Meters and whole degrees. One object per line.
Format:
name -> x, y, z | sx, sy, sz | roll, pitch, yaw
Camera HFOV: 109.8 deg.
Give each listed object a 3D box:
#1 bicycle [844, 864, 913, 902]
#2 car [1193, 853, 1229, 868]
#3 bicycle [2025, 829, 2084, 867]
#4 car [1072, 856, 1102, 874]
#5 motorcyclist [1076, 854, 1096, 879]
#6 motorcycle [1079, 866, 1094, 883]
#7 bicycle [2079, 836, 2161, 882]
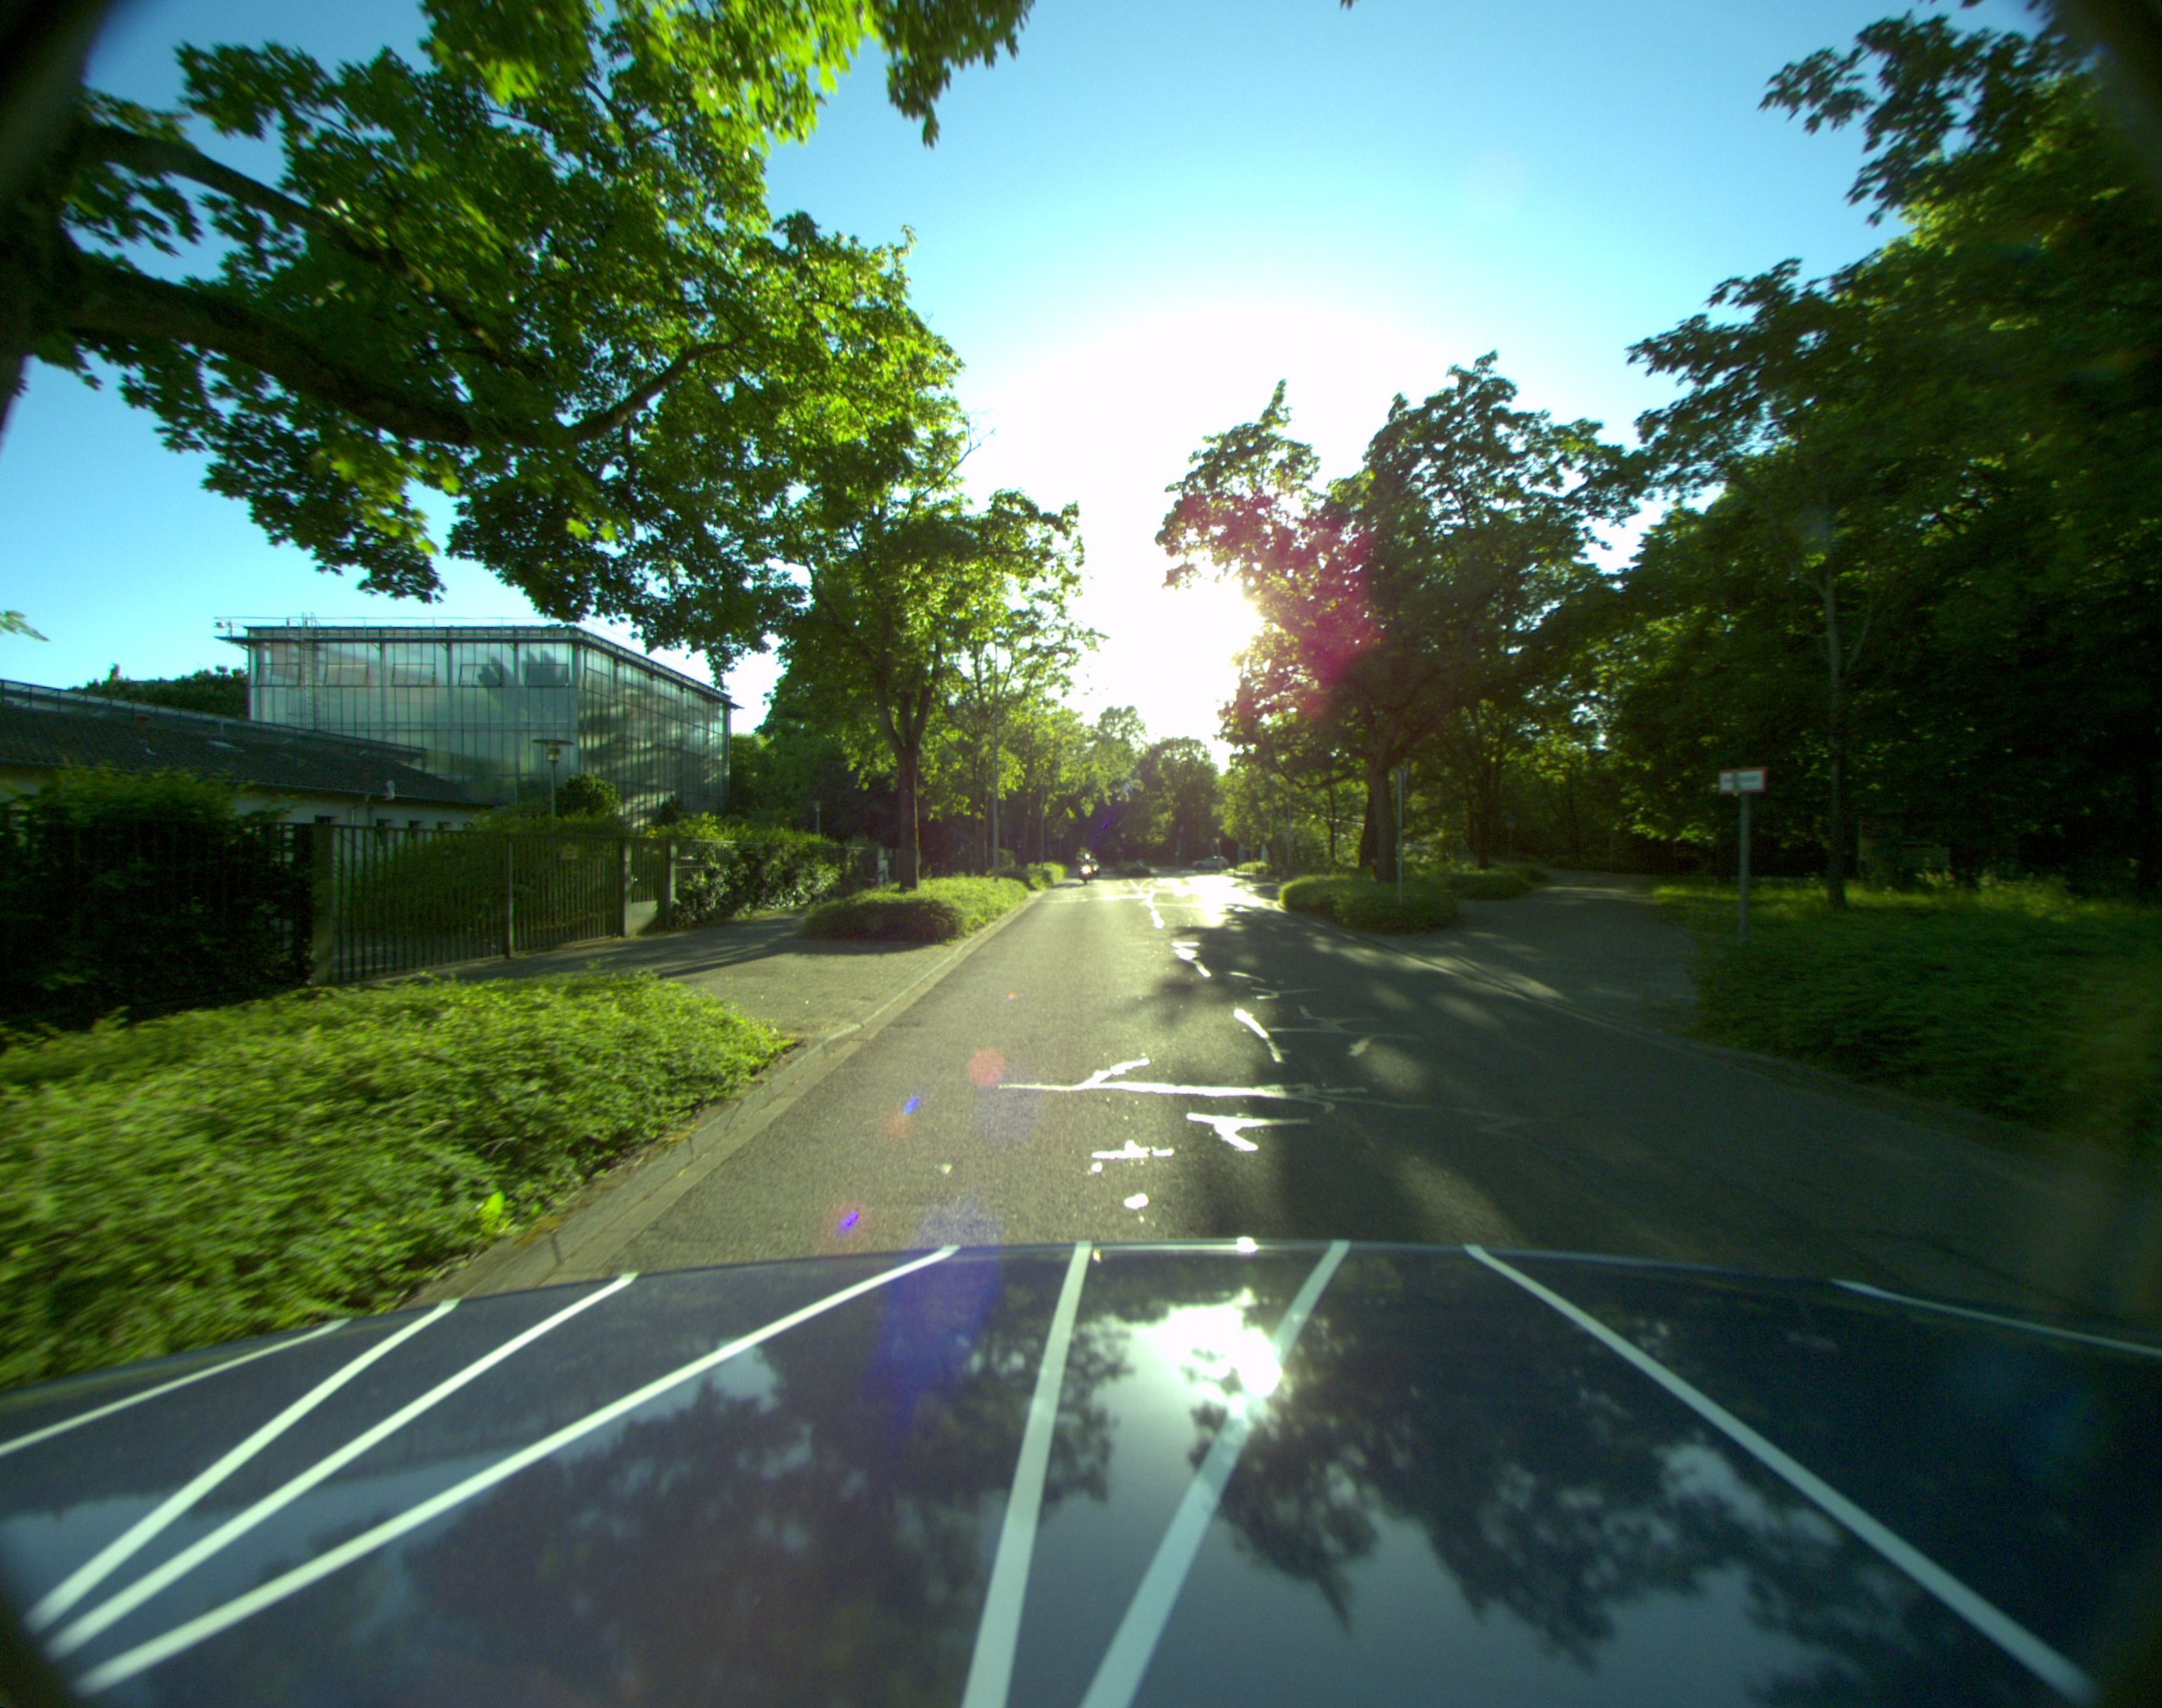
bicycle -> -6.719, 0.937, 25.300 | 0.884, 1.193, 2.330 | 2, 0, 26
car -> 16.707, 0.796, 97.831 | 4.366, 1.750, 1.572 | -2, 0, 0
bicycle -> 29.162, -0.190, 22.795 | 0.536, 1.065, 2.434 | -4, -2, 39
car -> 0.429, 0.852, 62.912 | 1.999, 1.365, 4.171 | -2, 0, -6
motorcyclist -> 0.297, 0.704, 43.941 | 1.138, 1.419, 1.567 | -2, 0, 1
motorcycle -> 0.304, 1.167, 43.795 | 0.807, 0.907, 2.713 | -2, 0, 1
bicycle -> 30.095, 0.130, 21.678 | 0.536, 1.066, 2.636 | -5, 3, 18
